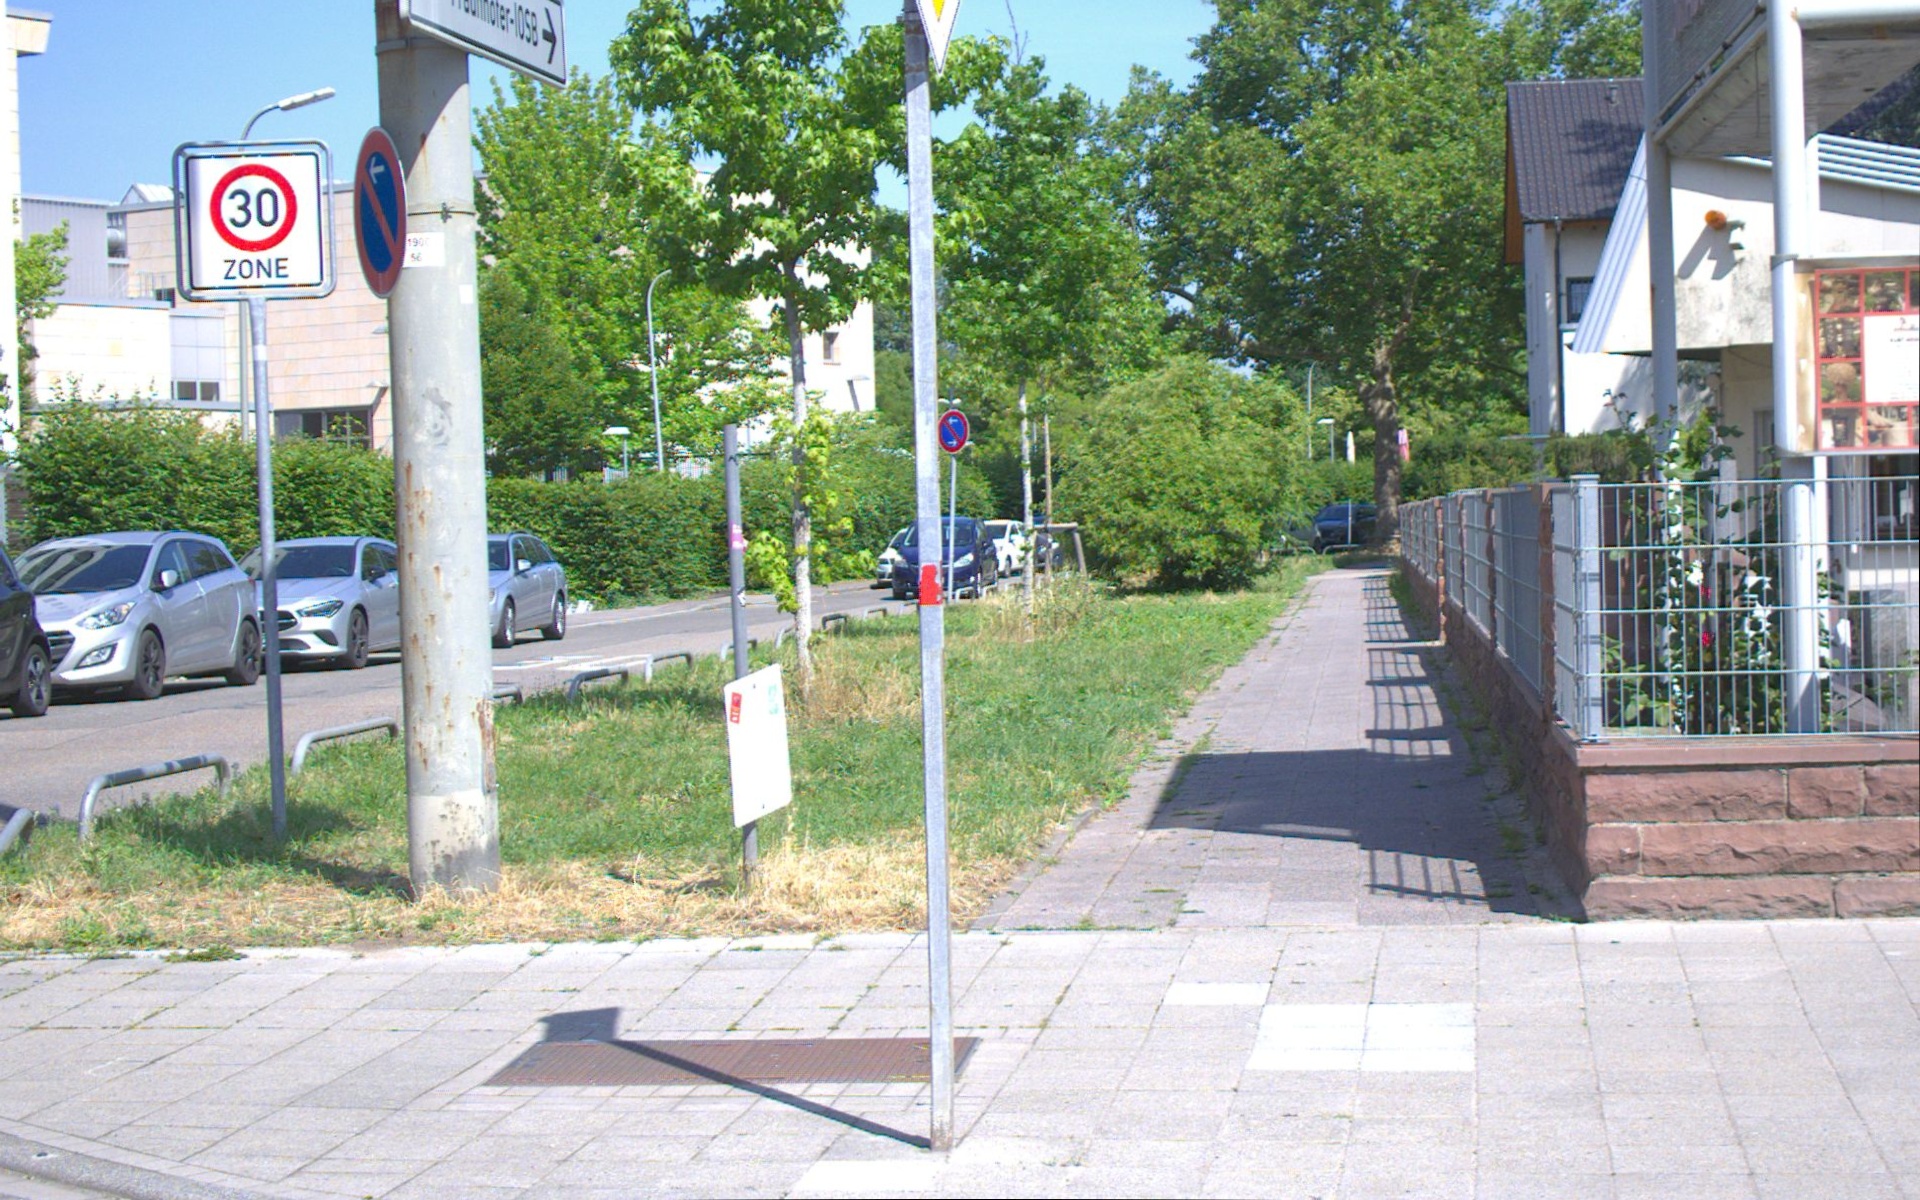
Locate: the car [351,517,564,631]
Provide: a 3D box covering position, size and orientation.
[{"bbox_3d":[-6.294,-0.357,43.488,1.809,1.318,3.828,-1,2,5],"label":"car"}]

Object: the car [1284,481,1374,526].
[{"bbox_3d":[12.554,-3.304,116.934,1.932,1.444,3.824,-1,2,24],"label":"car"}]

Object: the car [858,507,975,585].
[{"bbox_3d":[-0.828,-1.085,67.938,1.929,1.444,3.828,-1,2,5],"label":"car"}]

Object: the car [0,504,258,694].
[{"bbox_3d":[-7.810,-0.052,30.887,1.809,1.500,4.044,-2,2,5],"label":"car"}]

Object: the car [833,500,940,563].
[{"bbox_3d":[-1.767,-1.684,83.574,1.930,1.444,3.827,-1,1,9],"label":"car"}]

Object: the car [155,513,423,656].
[{"bbox_3d":[-7.137,-0.203,36.934,1.809,1.399,3.828,-1,1,5],"label":"car"}]

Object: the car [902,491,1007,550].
[{"bbox_3d":[-0.118,-2.102,90.349,1.930,1.444,3.826,-1,2,13],"label":"car"}]

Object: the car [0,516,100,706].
[{"bbox_3d":[-8.195,0.100,26.660,1.778,1.439,3.850,-1,1,5],"label":"car"}]
